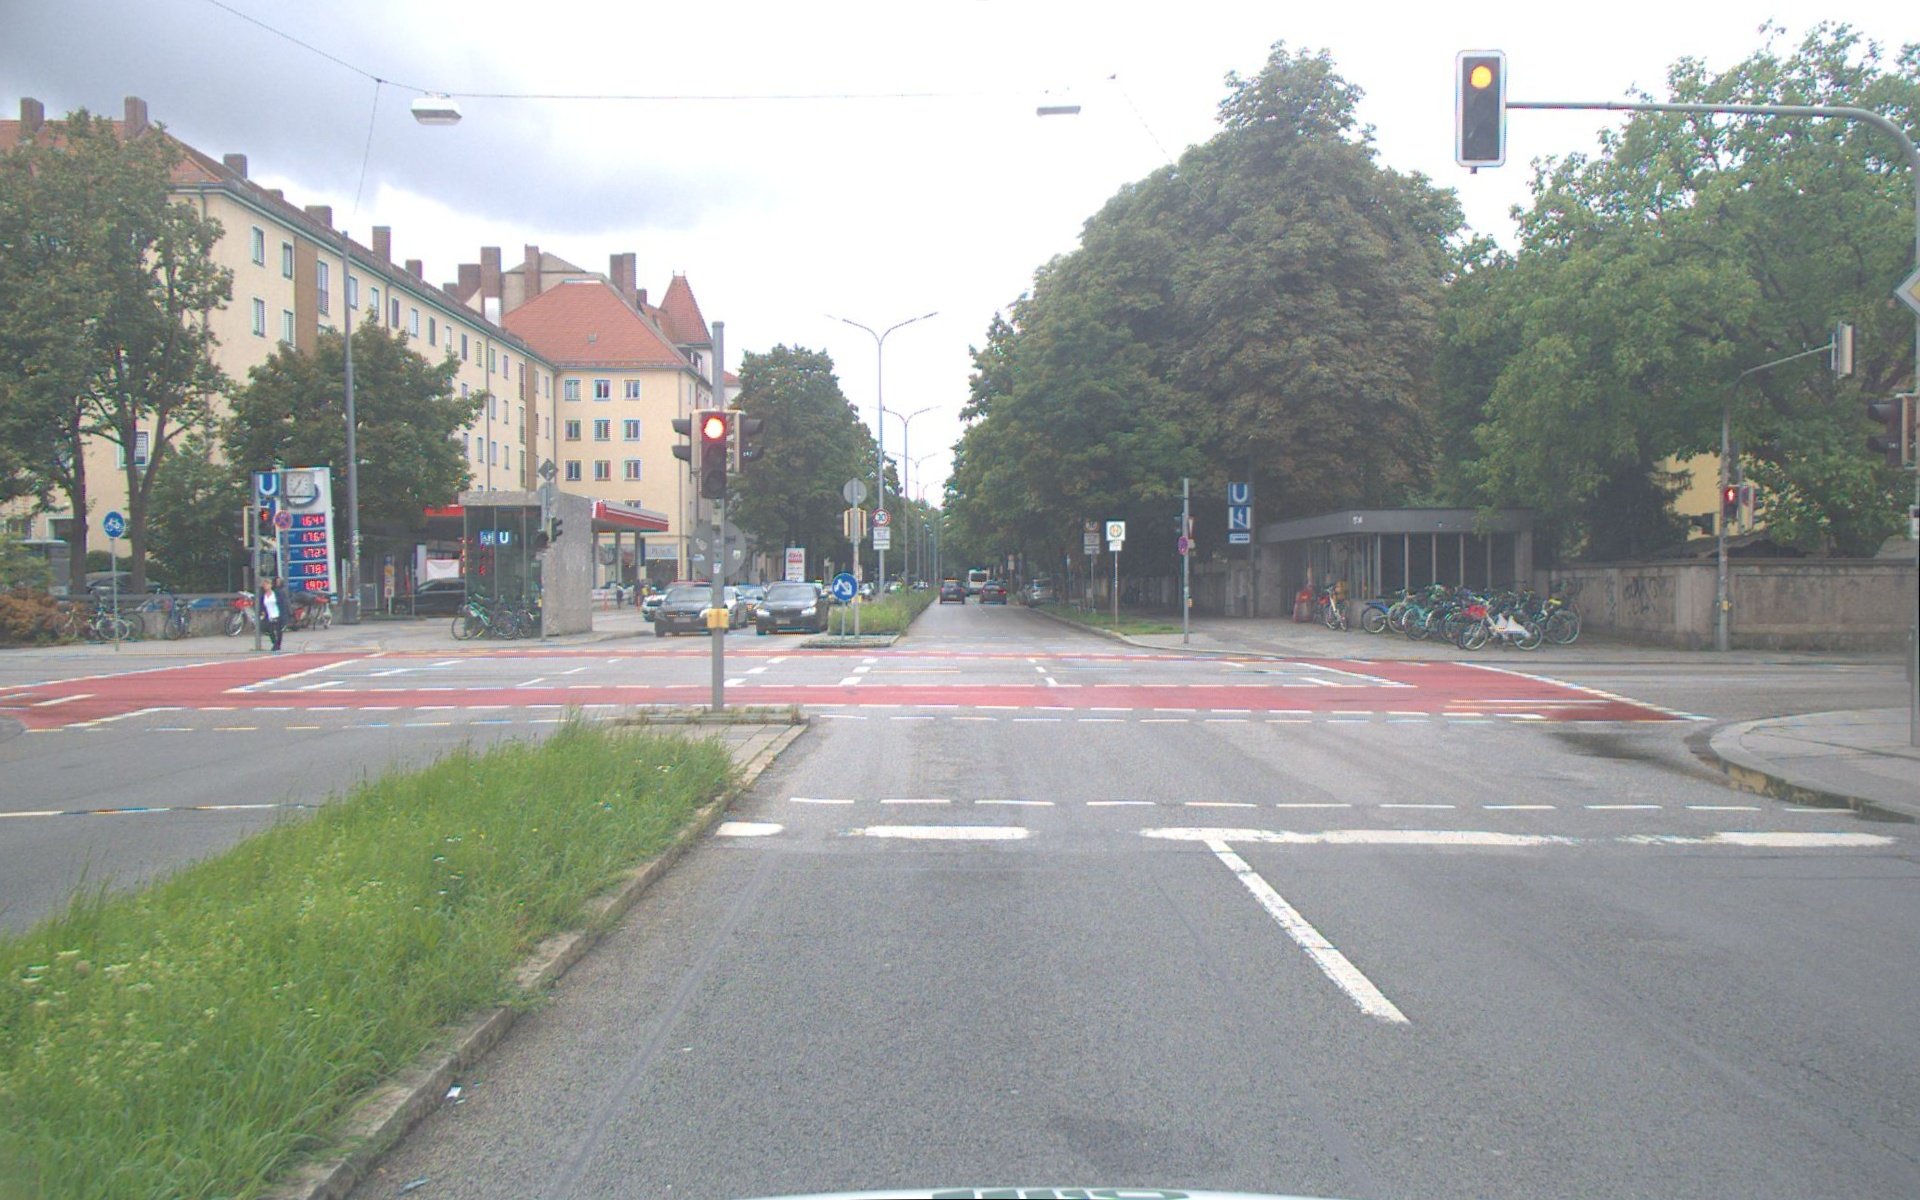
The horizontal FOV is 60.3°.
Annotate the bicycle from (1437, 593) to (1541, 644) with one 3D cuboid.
[{"bbox_3d":[11.527,0.408,36.091,2.097,1.089,0.603,0,0,8],"label":"bicycle"}]

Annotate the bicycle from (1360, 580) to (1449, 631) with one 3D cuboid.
[{"bbox_3d":[11.072,0.136,41.226,2.097,1.240,0.603,0,0,8],"label":"bicycle"}]

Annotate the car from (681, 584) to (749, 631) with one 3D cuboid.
[{"bbox_3d":[-8.219,0.223,55.840,1.724,1.486,4.000,0,1,-1],"label":"car"}]

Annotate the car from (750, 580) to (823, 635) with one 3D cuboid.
[{"bbox_3d":[-5.028,0.178,48.417,1.724,1.519,4.000,0,1,-1],"label":"car"}]

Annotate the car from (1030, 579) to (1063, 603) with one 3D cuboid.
[{"bbox_3d":[5.042,-0.557,97.254,1.707,1.387,3.806,0,1,-1],"label":"car"}]

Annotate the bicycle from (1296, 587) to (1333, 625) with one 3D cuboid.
[{"bbox_3d":[9.942,0.162,46.469,0.545,1.032,2.015,0,1,-2],"label":"bicycle"}]

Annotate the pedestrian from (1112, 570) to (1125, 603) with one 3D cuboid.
[{"bbox_3d":[8.302,-0.713,86.424,0.663,1.712,0.683,0,0,6],"label":"pedestrian"}]

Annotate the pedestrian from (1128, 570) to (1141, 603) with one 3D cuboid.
[{"bbox_3d":[9.106,-0.698,86.485,0.663,1.712,0.683,0,0,6],"label":"pedestrian"}]

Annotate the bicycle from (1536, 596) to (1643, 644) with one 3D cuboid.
[{"bbox_3d":[13.840,0.442,36.397,2.097,1.032,0.634,0,1,8],"label":"bicycle"}]

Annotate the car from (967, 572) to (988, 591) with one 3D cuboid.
[{"bbox_3d":[1.673,-1.805,158.224,1.953,1.787,4.000,0,1,-1],"label":"car"}]

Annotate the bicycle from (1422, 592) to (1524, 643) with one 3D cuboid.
[{"bbox_3d":[11.389,0.387,36.745,2.097,1.120,0.603,0,0,8],"label":"bicycle"}]

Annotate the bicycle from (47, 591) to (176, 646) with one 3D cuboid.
[{"bbox_3d":[-20.181,0.444,39.368,2.676,1.273,0.785,1,0,-31],"label":"bicycle"}]

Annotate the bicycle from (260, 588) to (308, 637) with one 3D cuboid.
[{"bbox_3d":[-17.961,0.319,43.956,0.596,1.257,2.184,0,1,-6],"label":"bicycle"}]

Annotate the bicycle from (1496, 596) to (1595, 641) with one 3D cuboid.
[{"bbox_3d":[13.702,0.427,38.743,2.097,1.032,0.634,0,1,8],"label":"bicycle"}]

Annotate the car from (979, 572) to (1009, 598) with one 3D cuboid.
[{"bbox_3d":[2.297,-0.988,112.131,1.883,1.713,4.000,1,0,0],"label":"car"}]

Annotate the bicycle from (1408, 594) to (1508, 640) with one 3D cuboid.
[{"bbox_3d":[11.259,0.387,37.459,2.097,1.032,0.603,0,0,8],"label":"bicycle"}]

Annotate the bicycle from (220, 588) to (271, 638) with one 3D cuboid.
[{"bbox_3d":[-18.603,0.330,43.125,0.596,1.257,2.184,0,1,-6],"label":"bicycle"}]

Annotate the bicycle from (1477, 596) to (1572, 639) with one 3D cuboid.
[{"bbox_3d":[13.752,0.424,40.324,2.097,1.032,0.634,0,1,8],"label":"bicycle"}]

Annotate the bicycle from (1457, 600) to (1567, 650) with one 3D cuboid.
[{"bbox_3d":[11.555,0.516,34.662,2.097,1.032,0.603,0,0,8],"label":"bicycle"}]

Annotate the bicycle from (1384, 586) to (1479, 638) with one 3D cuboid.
[{"bbox_3d":[11.083,0.277,38.924,2.097,1.199,0.603,0,0,8],"label":"bicycle"}]

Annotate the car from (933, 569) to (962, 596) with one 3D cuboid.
[{"bbox_3d":[-0.797,-1.114,106.562,1.819,1.713,4.000,0,1,-1],"label":"car"}]

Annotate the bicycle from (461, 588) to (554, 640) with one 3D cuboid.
[{"bbox_3d":[-11.835,0.358,43.282,2.238,1.327,0.694,0,1,1],"label":"bicycle"}]

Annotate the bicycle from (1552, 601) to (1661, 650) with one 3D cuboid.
[{"bbox_3d":[13.894,0.549,35.601,2.097,1.032,0.634,0,1,8],"label":"bicycle"}]

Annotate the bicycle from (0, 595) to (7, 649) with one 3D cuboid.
[{"bbox_3d":[-23.332,0.524,38.182,2.140,1.257,0.764,0,1,-10],"label":"bicycle"}]

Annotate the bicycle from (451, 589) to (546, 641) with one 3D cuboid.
[{"bbox_3d":[-11.855,0.379,42.502,2.224,1.327,0.704,0,1,1],"label":"bicycle"}]

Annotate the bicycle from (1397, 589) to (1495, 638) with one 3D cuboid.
[{"bbox_3d":[11.216,0.308,38.187,2.097,1.105,0.603,0,0,8],"label":"bicycle"}]

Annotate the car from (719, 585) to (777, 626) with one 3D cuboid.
[{"bbox_3d":[-8.030,0.197,62.897,1.724,1.486,4.000,0,1,-1],"label":"car"}]

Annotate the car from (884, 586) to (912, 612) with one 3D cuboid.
[{"bbox_3d":[-3.479,-0.085,92.829,1.438,1.423,3.699,0,1,-1],"label":"car"}]

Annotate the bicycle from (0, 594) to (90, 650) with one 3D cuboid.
[{"bbox_3d":[-21.432,0.499,38.280,2.141,1.257,0.764,-1,1,-12],"label":"bicycle"}]

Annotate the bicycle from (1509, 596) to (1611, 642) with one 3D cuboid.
[{"bbox_3d":[13.759,0.433,37.958,2.097,1.032,0.634,0,1,8],"label":"bicycle"}]

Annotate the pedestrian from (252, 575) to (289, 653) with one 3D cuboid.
[{"bbox_3d":[-15.384,0.305,36.898,0.522,1.725,0.577,0,0,11],"label":"pedestrian"}]

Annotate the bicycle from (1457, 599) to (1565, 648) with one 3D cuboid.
[{"bbox_3d":[11.748,0.498,35.287,2.097,1.032,0.634,0,1,8],"label":"bicycle"}]

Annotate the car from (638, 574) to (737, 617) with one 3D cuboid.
[{"bbox_3d":[-10.839,-0.196,66.049,1.778,1.637,3.958,0,1,32],"label":"car"}]

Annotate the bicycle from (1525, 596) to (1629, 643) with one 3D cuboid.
[{"bbox_3d":[13.842,0.440,37.165,2.097,1.032,0.634,0,1,8],"label":"bicycle"}]

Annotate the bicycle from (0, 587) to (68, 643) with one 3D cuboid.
[{"bbox_3d":[-22.420,0.342,38.912,2.351,1.273,0.790,1,0,-11],"label":"bicycle"}]

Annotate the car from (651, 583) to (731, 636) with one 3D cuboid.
[{"bbox_3d":[-7.951,0.253,49.156,1.724,1.486,4.000,0,1,-1],"label":"car"}]

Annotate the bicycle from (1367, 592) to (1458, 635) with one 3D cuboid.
[{"bbox_3d":[11.075,0.322,40.508,2.097,1.032,0.603,0,0,8],"label":"bicycle"}]

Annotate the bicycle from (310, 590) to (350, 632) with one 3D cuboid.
[{"bbox_3d":[-18.316,0.304,48.101,0.596,1.165,1.963,0,1,-6],"label":"bicycle"}]

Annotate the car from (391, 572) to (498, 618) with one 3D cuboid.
[{"bbox_3d":[-21.590,-0.233,69.393,3.907,1.870,1.879,0,1,-3],"label":"car"}]

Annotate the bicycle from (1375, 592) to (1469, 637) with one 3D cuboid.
[{"bbox_3d":[11.051,0.344,39.626,2.097,1.080,0.603,0,0,8],"label":"bicycle"}]

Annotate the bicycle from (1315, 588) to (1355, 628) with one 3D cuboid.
[{"bbox_3d":[9.902,0.193,43.735,0.545,1.032,2.015,0,1,-2],"label":"bicycle"}]

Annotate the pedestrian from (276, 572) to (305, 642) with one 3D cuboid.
[{"bbox_3d":[-16.652,0.177,41.127,0.583,1.725,0.571,-1,1,-31],"label":"pedestrian"}]

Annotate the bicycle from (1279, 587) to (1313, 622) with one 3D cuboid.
[{"bbox_3d":[10.131,0.123,49.851,0.545,1.032,2.015,0,1,-2],"label":"bicycle"}]
